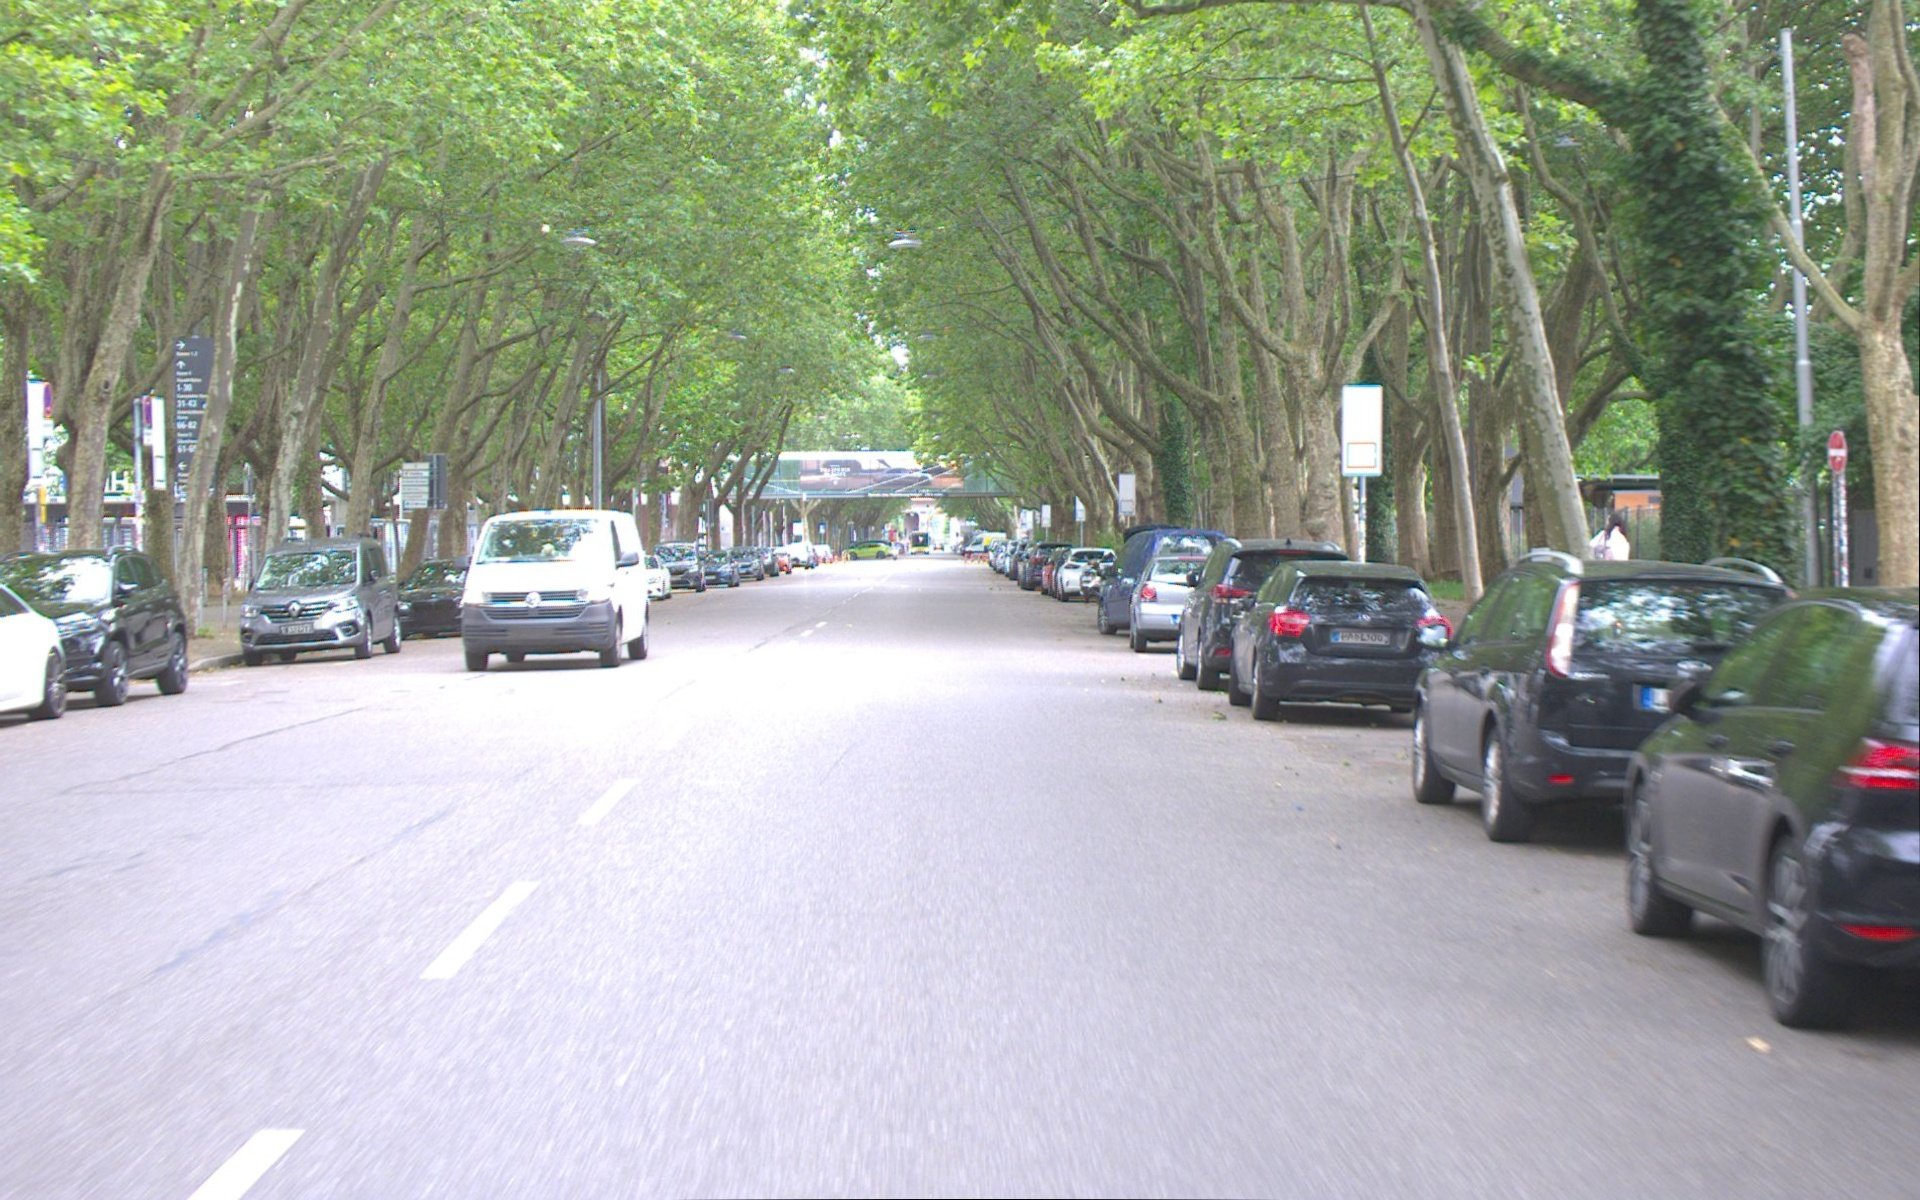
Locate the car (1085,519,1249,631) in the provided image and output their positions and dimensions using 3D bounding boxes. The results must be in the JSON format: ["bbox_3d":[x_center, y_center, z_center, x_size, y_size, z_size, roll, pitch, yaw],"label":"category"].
[{"bbox_3d":[3.477,-0.455,58.657,1.841,1.777,4.448,2,1,-9],"label":"car"}]

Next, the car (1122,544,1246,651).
[{"bbox_3d":[3.291,-0.068,51.058,1.619,1.456,3.946,2,1,1],"label":"car"}]

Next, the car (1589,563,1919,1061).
[{"bbox_3d":[3.517,0.645,12.443,1.739,1.466,4.151,2,1,1],"label":"car"}]

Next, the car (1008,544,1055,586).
[{"bbox_3d":[2.974,-1.469,144.326,1.707,1.692,4.631,1,1,-2],"label":"car"}]

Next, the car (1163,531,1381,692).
[{"bbox_3d":[3.341,0.079,37.581,1.829,1.597,4.467,2,1,-1],"label":"car"}]

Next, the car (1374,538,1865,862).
[{"bbox_3d":[3.548,0.458,19.306,1.777,1.548,4.397,2,1,-1],"label":"car"}]

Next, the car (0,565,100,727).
[{"bbox_3d":[-9.178,0.425,30.622,1.816,1.357,5.006,-2,1,-1],"label":"car"}]

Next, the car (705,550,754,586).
[{"bbox_3d":[-10.276,-1.429,153.537,1.878,1.521,4.151,-1,1,0],"label":"car"}]

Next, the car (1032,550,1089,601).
[{"bbox_3d":[3.337,-0.824,114.570,1.755,1.614,4.439,2,1,0],"label":"car"}]

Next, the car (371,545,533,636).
[{"bbox_3d":[-9.370,-0.214,63.811,2.084,1.524,5.145,-2,1,1],"label":"car"}]

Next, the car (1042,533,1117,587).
[{"bbox_3d":[3.203,-1.084,92.702,1.735,1.433,4.123,0,1,-2],"label":"car"}]

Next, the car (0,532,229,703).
[{"bbox_3d":[-9.046,0.156,35.574,1.818,1.588,4.344,-3,1,2],"label":"car"}]

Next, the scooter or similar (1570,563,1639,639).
[{"bbox_3d":[9.312,0.005,49.711,0.680,1.034,1.467,-3,1,0],"label":"scooter or similar"}]

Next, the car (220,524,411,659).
[{"bbox_3d":[-9.393,-0.143,50.465,1.895,1.789,4.613,-3,1,-1],"label":"car"}]

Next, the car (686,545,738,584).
[{"bbox_3d":[-9.758,-1.403,135.451,1.724,1.481,4.575,0,1,0],"label":"car"}]

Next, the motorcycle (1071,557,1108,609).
[{"bbox_3d":[3.302,-0.441,87.499,0.712,1.327,1.992,0,1,8],"label":"motorcycle"}]

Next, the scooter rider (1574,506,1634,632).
[{"bbox_3d":[9.297,-0.448,49.638,0.676,1.794,0.587,-2,1,0],"label":"scooter rider"}]

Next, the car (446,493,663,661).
[{"bbox_3d":[-5.045,-0.325,43.462,2.059,1.954,5.466,-1,1,0],"label":"car"}]

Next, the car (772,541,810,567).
[{"bbox_3d":[-10.388,-2.841,211.701,2.073,1.557,4.756,0,1,0],"label":"car"}]

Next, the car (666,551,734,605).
[{"bbox_3d":[-8.860,-0.769,117.377,1.949,1.744,4.638,-2,1,-1],"label":"car"}]

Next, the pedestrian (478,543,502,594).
[{"bbox_3d":[-16.264,-1.089,118.928,0.575,1.736,0.767,0,1,15],"label":"pedestrian"}]

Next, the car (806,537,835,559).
[{"bbox_3d":[-10.580,-3.946,260.286,1.993,1.596,4.001,0,1,-5],"label":"car"}]

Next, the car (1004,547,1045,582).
[{"bbox_3d":[3.195,-1.762,171.069,1.903,1.733,4.506,0,1,0],"label":"car"}]

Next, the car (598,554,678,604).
[{"bbox_3d":[-9.717,-0.650,104.145,1.904,1.398,4.751,-3,1,0],"label":"car"}]

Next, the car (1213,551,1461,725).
[{"bbox_3d":[3.396,0.294,31.674,1.776,1.413,4.287,2,1,0],"label":"car"}]
